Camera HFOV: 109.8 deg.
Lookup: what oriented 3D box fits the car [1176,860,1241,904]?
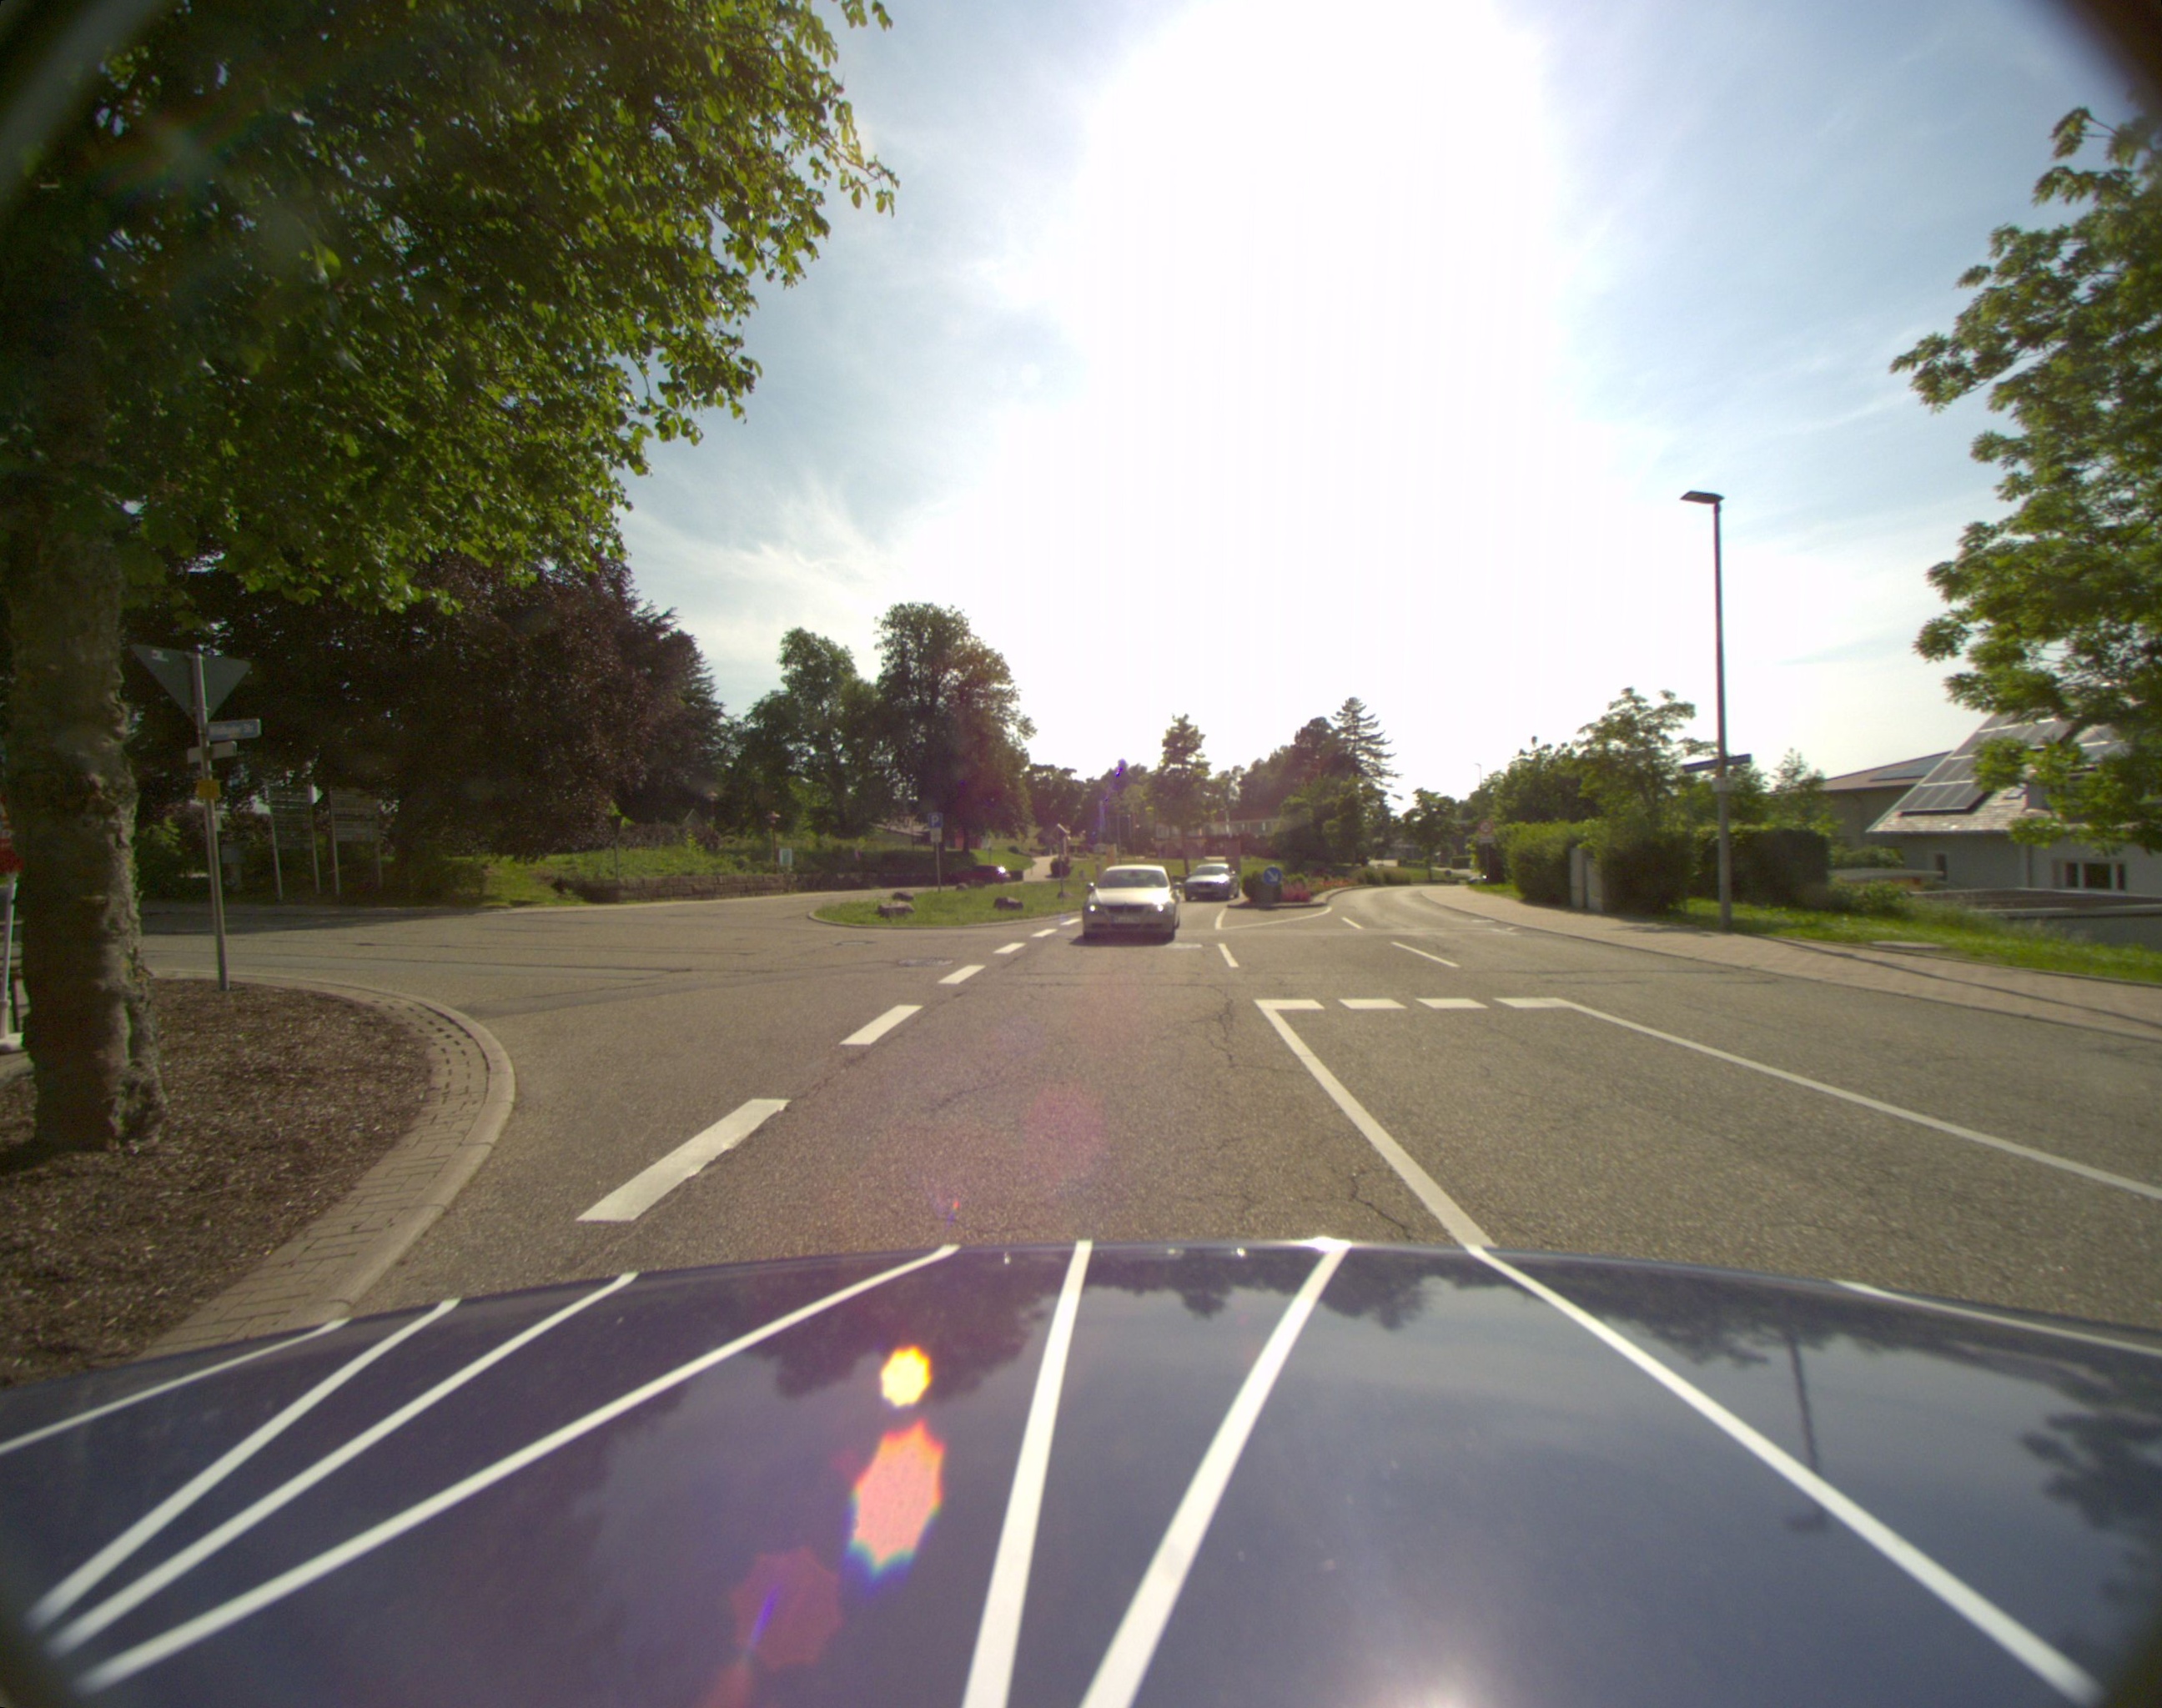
[{"bbox_3d":[5.135,1.062,30.182,1.900,1.499,4.005,2,1,18],"label":"car"}]

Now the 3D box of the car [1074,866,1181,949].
[{"bbox_3d":[1.111,0.973,15.620,1.837,1.360,4.584,0,0,8],"label":"car"}]

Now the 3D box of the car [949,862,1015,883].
[{"bbox_3d":[-6.892,1.269,52.945,4.256,1.420,1.705,0,0,24],"label":"car"}]

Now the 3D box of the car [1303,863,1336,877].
[{"bbox_3d":[27.526,1.799,87.791,1.717,1.396,3.304,0,2,-27],"label":"car"}]

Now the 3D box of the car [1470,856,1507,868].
[{"bbox_3d":[60.096,1.137,112.049,4.363,1.506,1.794,2,1,5],"label":"car"}]

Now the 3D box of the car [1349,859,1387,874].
[{"bbox_3d":[34.219,1.475,90.731,2.003,1.609,3.991,1,1,-23],"label":"car"}]
